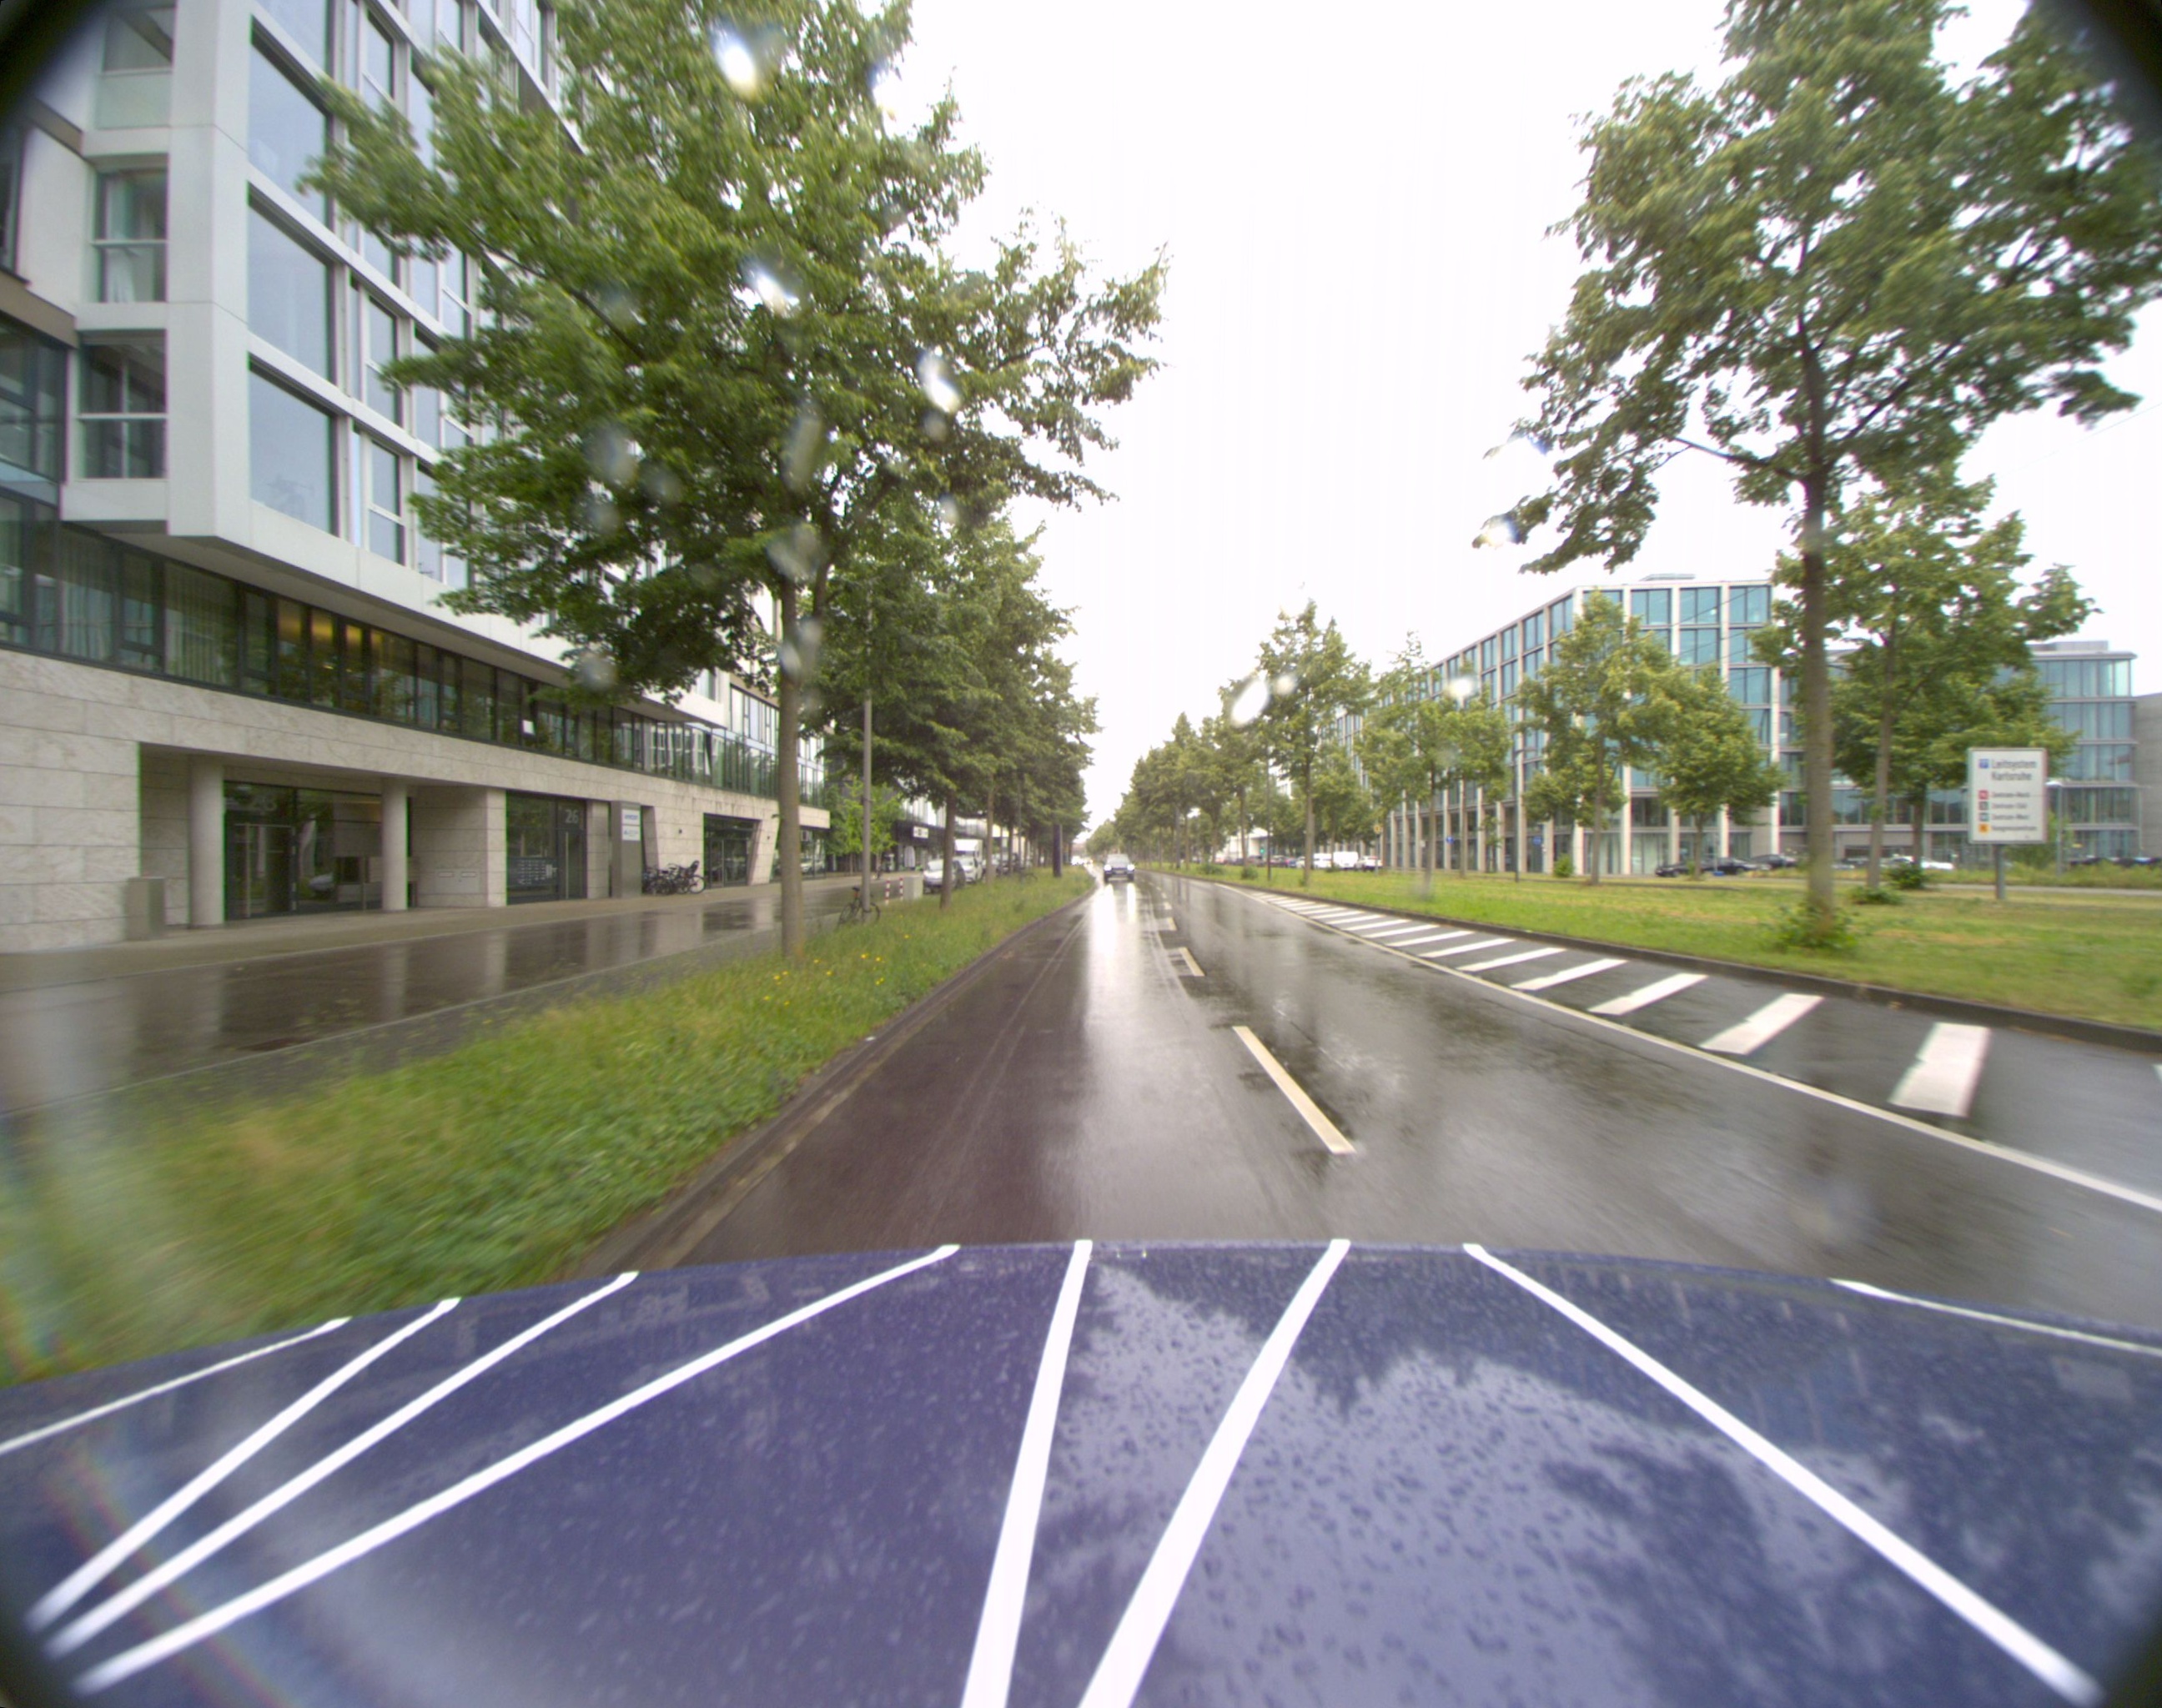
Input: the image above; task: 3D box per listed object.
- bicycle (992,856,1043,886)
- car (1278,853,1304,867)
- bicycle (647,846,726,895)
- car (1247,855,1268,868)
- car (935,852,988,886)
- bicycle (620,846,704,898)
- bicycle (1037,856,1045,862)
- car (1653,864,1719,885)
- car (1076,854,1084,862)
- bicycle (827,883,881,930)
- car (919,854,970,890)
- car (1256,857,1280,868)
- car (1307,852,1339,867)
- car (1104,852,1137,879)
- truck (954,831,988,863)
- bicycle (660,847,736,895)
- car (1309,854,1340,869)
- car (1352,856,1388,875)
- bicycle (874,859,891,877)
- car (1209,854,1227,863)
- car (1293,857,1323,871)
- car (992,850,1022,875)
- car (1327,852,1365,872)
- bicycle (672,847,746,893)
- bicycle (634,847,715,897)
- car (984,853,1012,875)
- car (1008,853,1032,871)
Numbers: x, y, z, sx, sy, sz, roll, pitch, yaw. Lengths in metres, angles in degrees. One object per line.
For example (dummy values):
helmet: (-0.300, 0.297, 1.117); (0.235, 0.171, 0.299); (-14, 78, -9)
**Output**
bicycle: (-2.559, 0.681, 30.730); (2.040, 1.189, 0.491); (0, 1, 0)
car: (25.373, 0.746, 92.014); (1.956, 1.485, 3.963); (0, -2, -2)
bicycle: (-15.043, 0.627, 29.003); (2.686, 1.850, 0.707); (0, 0, 5)
car: (25.318, 1.043, 109.234); (1.956, 1.837, 4.543); (0, -1, -1)
car: (-6.110, 0.812, 39.447); (1.998, 1.658, 4.725); (0, -2, 0)
bicycle: (-15.128, 0.653, 27.466); (2.686, 1.850, 0.707); (0, 0, 5)
bicycle: (-6.709, 0.853, 127.228); (1.458, 0.911, 0.434); (-2, -2, 32)
car: (48.514, 1.647, 60.988); (3.797, 1.599, 1.745); (0, -2, 4)
car: (-0.185, 0.930, 165.337); (1.687, 1.520, 3.969); (0, -2, -2)
bicycle: (-4.236, 0.961, 14.298); (0.343, 0.817, 1.903); (0, -2, 3)
car: (-5.982, 0.794, 33.654); (1.630, 1.482, 3.656); (0, -1, -1)
car: (24.450, 1.137, 99.605); (1.956, 1.377, 4.606); (0, -2, -1)
car: (28.463, 0.699, 89.630); (1.956, 1.641, 5.030); (0, -2, -2)
car: (2.510, 0.692, 48.867); (1.928, 1.650, 4.716); (1, 0, 1)
truck: (-12.516, -0.763, 86.989); (3.033, 3.421, 8.545); (0, 0, -3)
bicycle: (-15.006, 0.665, 29.784); (2.686, 1.850, 0.707); (0, 0, 5)
car: (25.249, 0.818, 78.863); (1.955, 1.452, 4.834); (0, -2, 3)
car: (27.993, 1.068, 73.674); (1.955, 1.739, 4.577); (-1, 0, 3)
bicycle: (-13.023, 0.924, 49.863); (0.519, 1.124, 2.065); (0, 0, 2)
car: (22.100, 0.719, 122.864); (1.956, 1.444, 4.575); (-1, 0, 0)
car: (25.395, 1.100, 85.208); (1.956, 1.504, 4.575); (-1, 0, 0)
car: (-6.101, 0.755, 63.044); (1.998, 1.940, 5.031); (0, -2, 1)
car: (28.392, 0.897, 81.703); (2.273, 1.994, 5.375); (0, -2, 1)
bicycle: (-14.952, 0.635, 30.549); (2.686, 1.850, 0.707); (0, 0, 5)
bicycle: (-15.071, 0.656, 28.212); (2.686, 1.850, 0.707); (0, 0, 5)
car: (-6.188, 0.717, 56.786); (1.962, 1.504, 4.479); (0, 0, -6)
car: (-6.174, 0.802, 77.149); (1.999, 1.659, 4.724); (-2, -1, -1)
